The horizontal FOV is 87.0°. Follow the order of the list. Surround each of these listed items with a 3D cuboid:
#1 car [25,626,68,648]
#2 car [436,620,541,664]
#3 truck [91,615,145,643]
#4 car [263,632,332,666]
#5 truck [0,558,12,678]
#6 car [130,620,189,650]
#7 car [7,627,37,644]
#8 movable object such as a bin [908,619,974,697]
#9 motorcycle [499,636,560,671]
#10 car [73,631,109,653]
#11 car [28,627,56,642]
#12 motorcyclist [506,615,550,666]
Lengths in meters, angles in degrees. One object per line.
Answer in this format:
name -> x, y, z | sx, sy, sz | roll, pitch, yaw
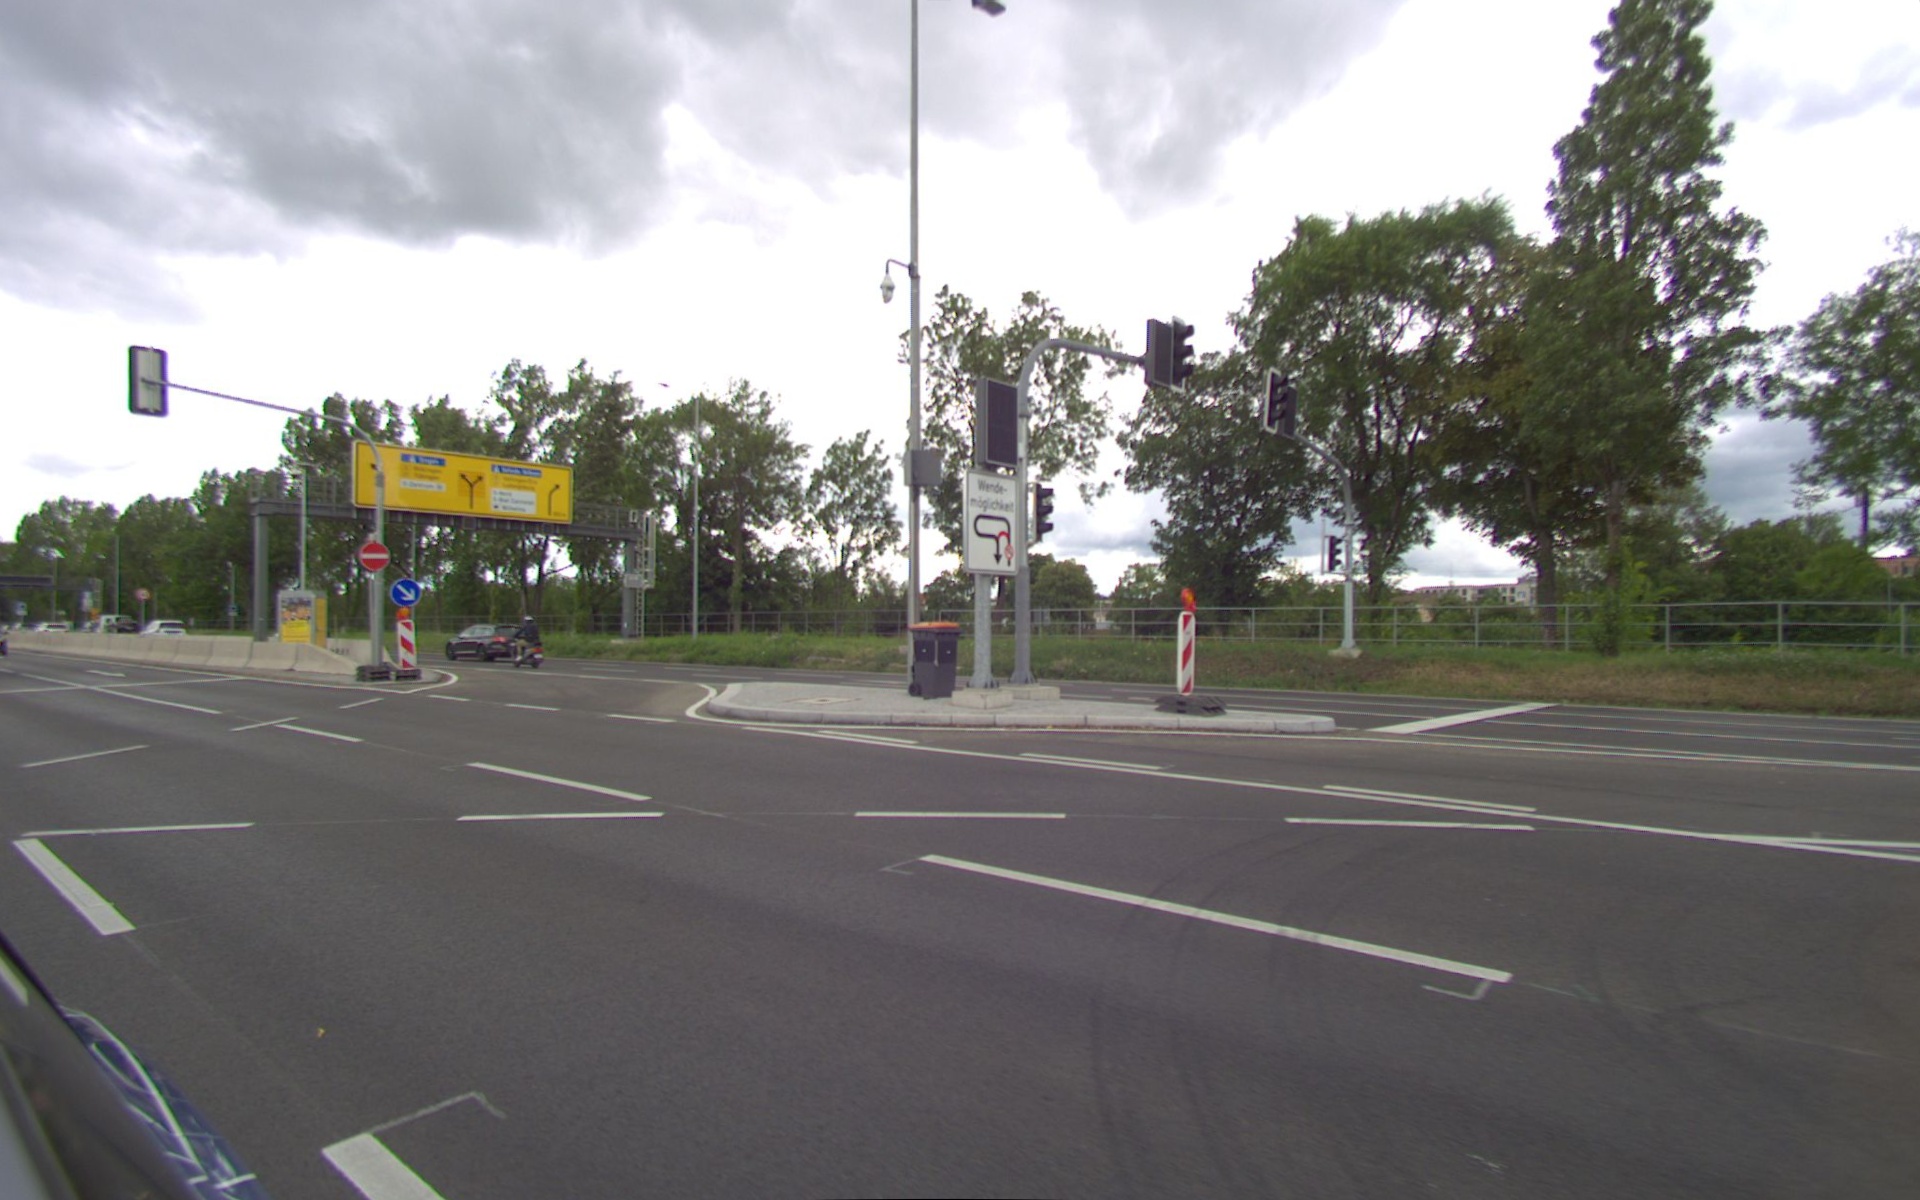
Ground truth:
car -> -75.604, 3.039, 83.741 | 4.691, 1.681, 1.973 | -2, 0, 40
car -> -18.620, 1.634, 39.886 | 4.563, 1.562, 1.974 | -2, 0, 40
truck -> -67.262, 2.320, 80.802 | 6.295, 2.029, 2.183 | -2, 0, 39
car -> -35.774, 2.639, 54.595 | 4.284, 1.669, 1.973 | -2, 0, 40
truck -> -28.946, 0.616, 27.989 | 8.379, 3.106, 2.906 | -2, 0, 40
car -> -49.010, 2.170, 61.945 | 4.408, 1.697, 1.973 | -2, 0, 40
car -> -101.026, 3.824, 108.996 | 4.123, 1.695, 1.859 | -2, 0, 40
movable object such as a bin -> -0.273, 0.826, 14.562 | 0.740, 1.067, 0.535 | -2, 0, 41
motorcycle -> -13.488, 1.650, 31.679 | 2.162, 0.996, 0.903 | -1, 1, 41
car -> -86.772, 4.186, 101.043 | 4.933, 2.029, 1.973 | -2, 0, 41
car -> -107.807, 4.026, 118.848 | 4.119, 1.695, 1.859 | -2, 0, 40
motorcyclist -> -13.528, 1.269, 31.716 | 0.980, 1.533, 0.904 | -1, 0, 41
